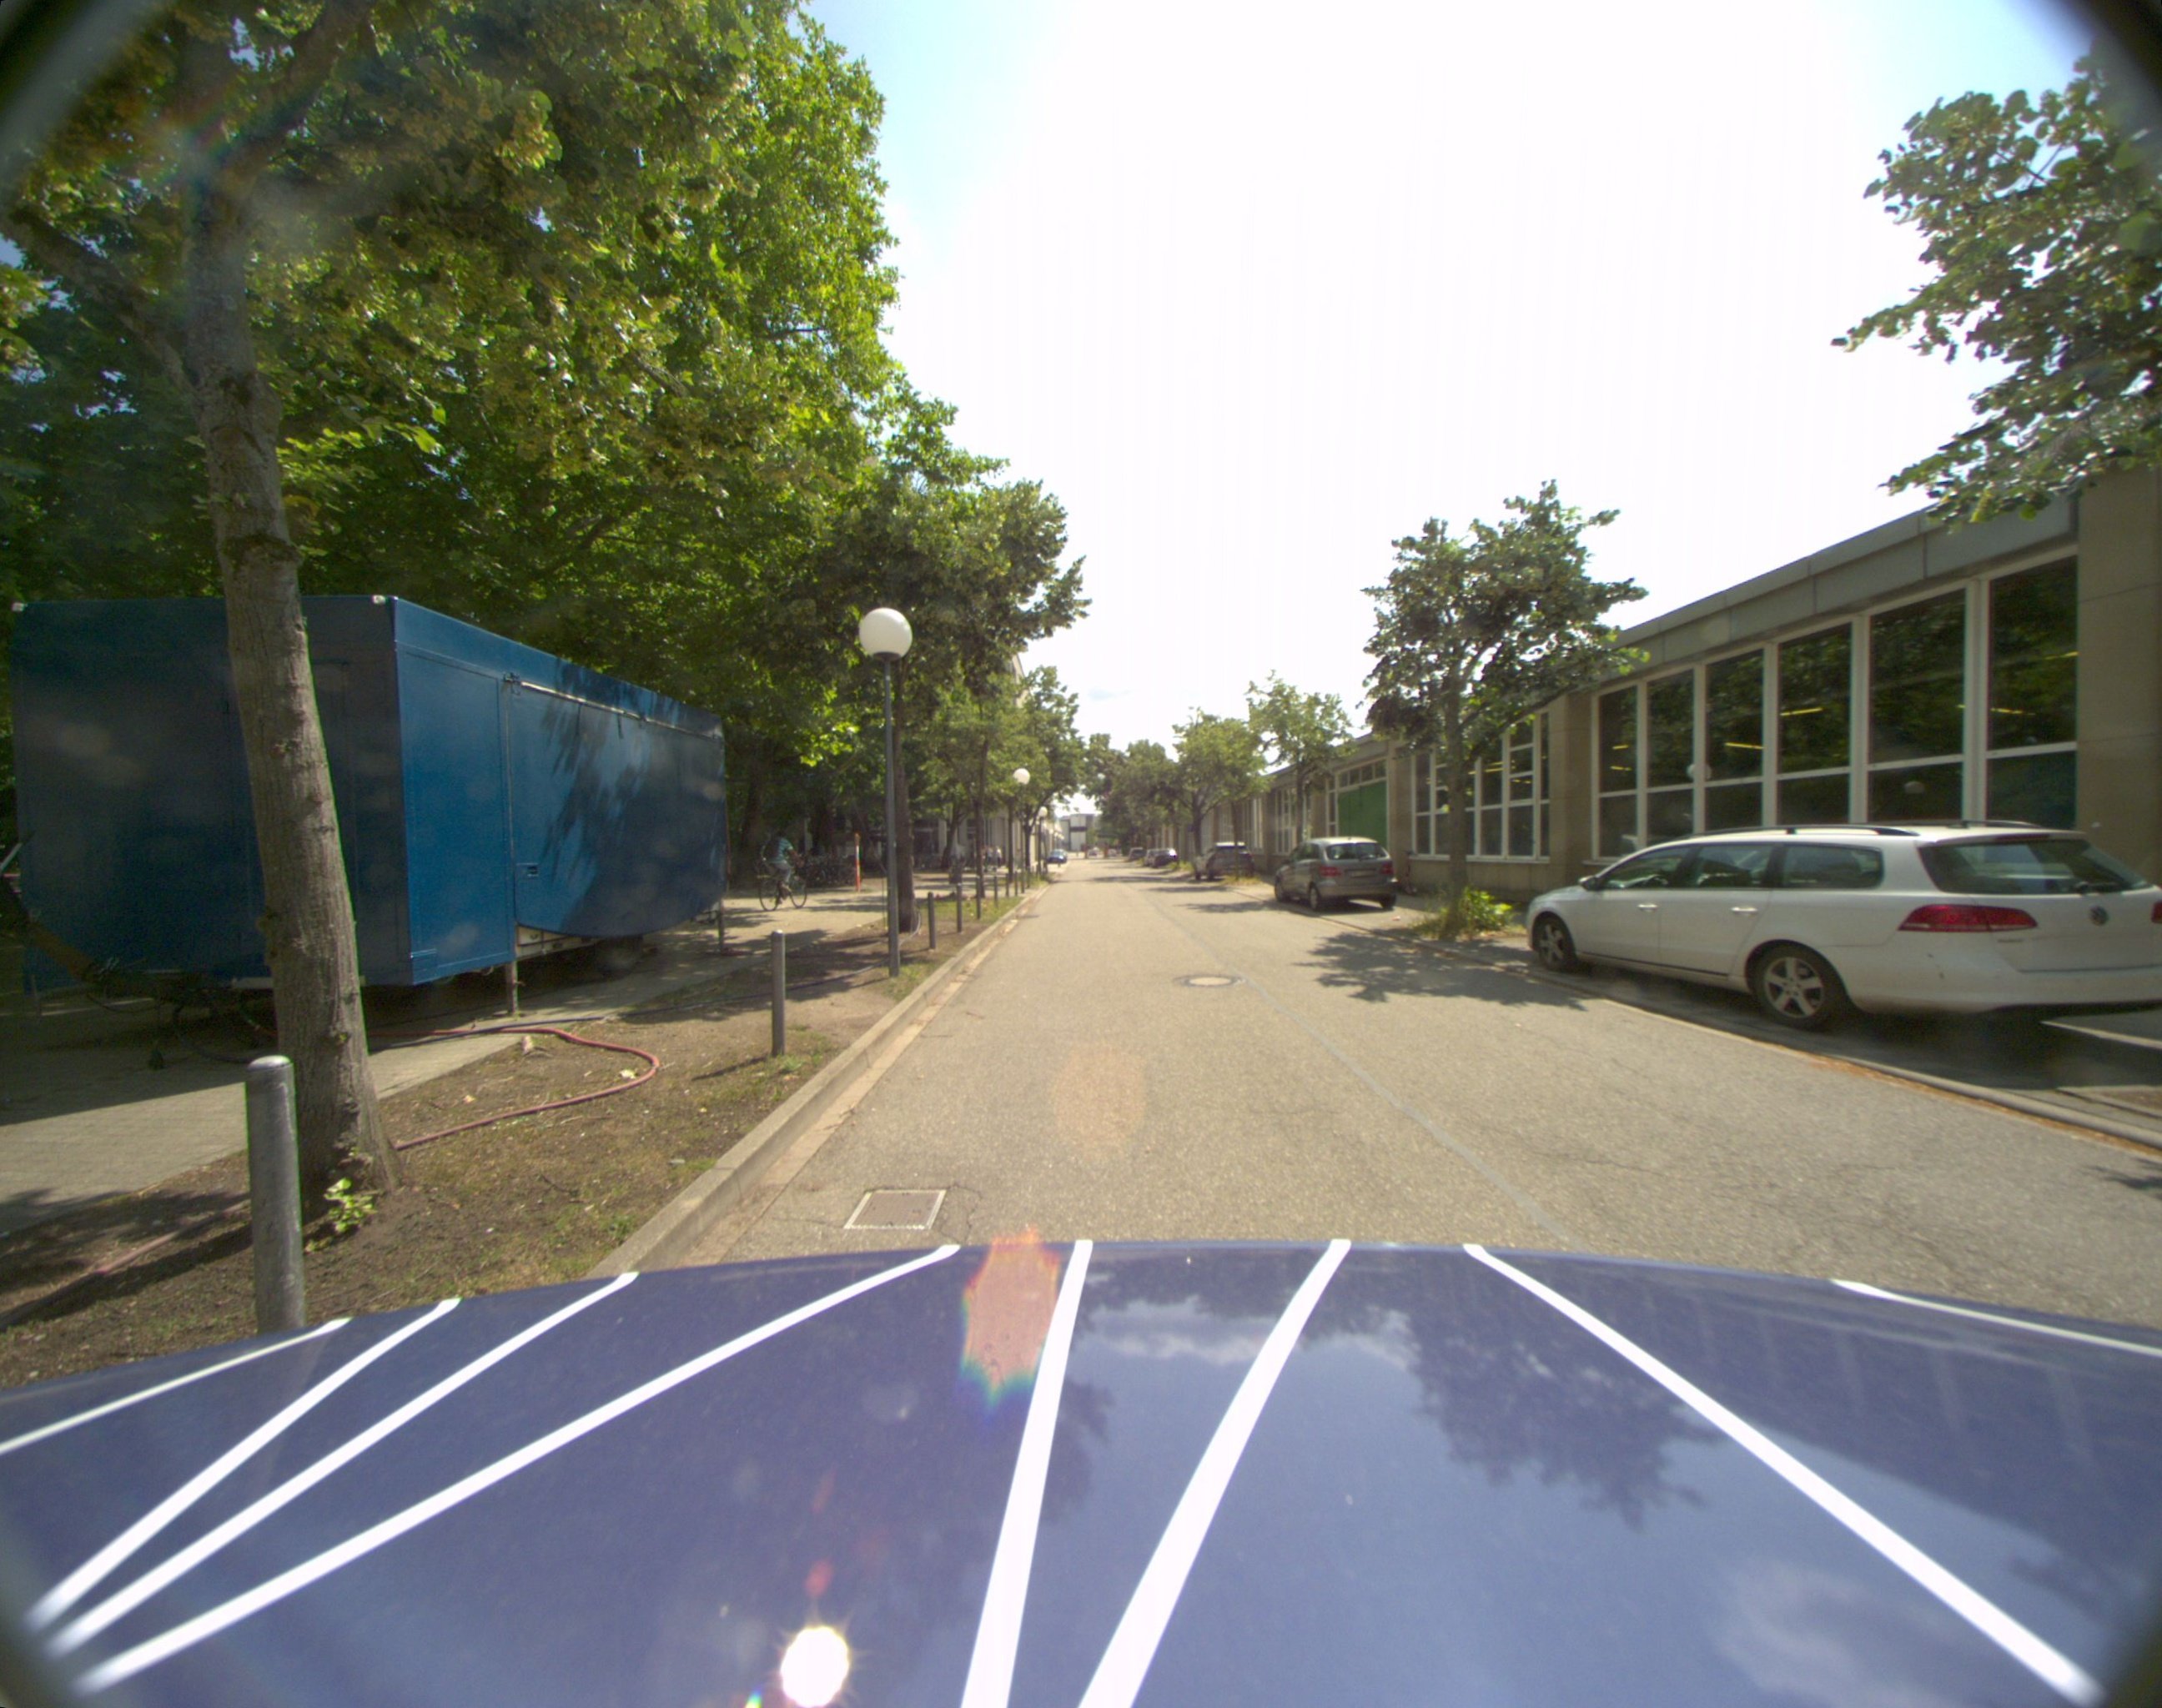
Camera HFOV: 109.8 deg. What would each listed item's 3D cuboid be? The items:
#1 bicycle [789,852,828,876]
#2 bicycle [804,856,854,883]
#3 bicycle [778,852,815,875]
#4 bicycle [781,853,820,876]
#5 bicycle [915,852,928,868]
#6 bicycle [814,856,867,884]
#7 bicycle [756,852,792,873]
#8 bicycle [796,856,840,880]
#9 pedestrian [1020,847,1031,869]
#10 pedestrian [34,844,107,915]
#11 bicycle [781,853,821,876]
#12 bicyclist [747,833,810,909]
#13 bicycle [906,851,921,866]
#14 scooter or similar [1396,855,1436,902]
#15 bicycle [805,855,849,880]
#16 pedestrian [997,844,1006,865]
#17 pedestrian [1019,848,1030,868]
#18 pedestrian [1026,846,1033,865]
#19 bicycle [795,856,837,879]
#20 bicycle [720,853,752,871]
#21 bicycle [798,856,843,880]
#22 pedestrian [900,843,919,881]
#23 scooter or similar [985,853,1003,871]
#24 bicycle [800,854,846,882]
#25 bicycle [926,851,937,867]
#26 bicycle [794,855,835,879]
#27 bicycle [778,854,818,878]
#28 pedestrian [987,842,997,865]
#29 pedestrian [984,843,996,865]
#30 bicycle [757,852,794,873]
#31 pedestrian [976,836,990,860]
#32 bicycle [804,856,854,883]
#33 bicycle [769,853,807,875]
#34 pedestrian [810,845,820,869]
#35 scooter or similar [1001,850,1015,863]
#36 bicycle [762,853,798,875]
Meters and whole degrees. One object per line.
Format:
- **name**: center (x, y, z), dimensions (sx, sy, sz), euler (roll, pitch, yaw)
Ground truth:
- **bicycle**: center (-13.709, 0.496, 38.307), dimensions (1.796, 1.163, 0.401), euler (-1, 1, -34)
- **bicycle**: center (-10.343, 0.621, 31.197), dimensions (1.916, 1.053, 0.325), euler (-1, 1, -23)
- **bicycle**: center (-15.017, 0.497, 40.149), dimensions (0.344, 1.163, 1.849), euler (0, 1, 43)
- **bicycle**: center (-14.546, 0.511, 39.403), dimensions (1.848, 1.163, 0.344), euler (-1, 1, -34)
- **bicycle**: center (-11.434, 0.442, 54.444), dimensions (0.481, 1.079, 1.516), euler (1, -1, 6)
- **bicycle**: center (-9.515, 0.617, 30.044), dimensions (1.950, 1.076, 0.404), euler (0, 1, -11)
- **bicycle**: center (-17.410, 0.477, 43.071), dimensions (1.849, 1.163, 0.352), euler (-1, 1, -36)
- **bicycle**: center (-11.843, 0.616, 34.252), dimensions (1.796, 1.022, 0.381), euler (-1, 1, -32)
- **pedestrian**: center (-4.396, 0.283, 59.833), dimensions (0.797, 1.718, 0.601), euler (-1, 1, -2)
- **pedestrian**: center (-22.986, 0.573, 17.299), dimensions (0.719, 1.572, 0.668), euler (2, 0, -13)
- **bicycle**: center (-14.246, 0.513, 38.733), dimensions (1.848, 1.163, 0.401), euler (-1, 1, -34)
- **bicyclist**: center (-6.516, 0.353, 16.397), dimensions (0.651, 1.558, 1.197), euler (2, 2, 14)
- **bicycle**: center (-11.927, 0.338, 54.162), dimensions (0.481, 1.079, 1.697), euler (1, -1, 6)
- **scooter or similar**: center (8.941, 0.639, 20.317), dimensions (0.506, 1.162, 1.215), euler (-2, 1, 1)
- **bicycle**: center (-11.045, 0.570, 33.124), dimensions (1.742, 1.046, 0.493), euler (-1, 1, -36)
- **pedestrian**: center (-6.547, 0.057, 62.637), dimensions (0.613, 1.719, 0.542), euler (-1, 1, 2)
- **pedestrian**: center (-4.421, 0.279, 59.117), dimensions (0.797, 1.533, 0.664), euler (-1, 1, -2)
- **pedestrian**: center (-4.632, 0.158, 68.478), dimensions (0.613, 1.719, 0.542), euler (-1, 1, 2)
- **bicycle**: center (-12.351, 0.617, 35.474), dimensions (1.796, 1.064, 0.425), euler (-1, 1, -30)
- **bicycle**: center (-22.048, 0.509, 48.567), dimensions (1.849, 1.163, 0.345), euler (-1, 1, -44)
- **bicycle**: center (-11.451, 0.603, 33.429), dimensions (1.800, 1.022, 0.439), euler (-1, 1, -32)
- **pedestrian**: center (-7.297, 0.329, 32.424), dimensions (0.570, 1.563, 0.926), euler (1, 4, 1)
- **scooter or similar**: center (-5.527, 0.511, 48.329), dimensions (0.496, 1.107, 1.365), euler (0, -1, 25)
- **bicycle**: center (-10.966, 0.579, 32.328), dimensions (1.742, 1.148, 0.493), euler (-1, 1, -36)
- **bicycle**: center (-10.672, 0.358, 54.317), dimensions (0.460, 1.079, 1.474), euler (1, -1, 2)
- **bicycle**: center (-12.566, 0.610, 35.857), dimensions (1.796, 1.064, 0.425), euler (-1, 1, -30)
- **bicycle**: center (-14.005, 0.565, 37.625), dimensions (1.796, 1.163, 0.401), euler (-1, 1, -34)
- **pedestrian**: center (-7.141, -0.047, 61.278), dimensions (0.687, 1.880, 0.686), euler (-2, 2, -2)
- **pedestrian**: center (-7.466, 0.030, 62.394), dimensions (0.811, 1.787, 0.618), euler (-2, 2, -43)
- **bicycle**: center (-17.197, 0.484, 42.785), dimensions (1.849, 1.163, 0.352), euler (-1, 1, -36)
- **pedestrian**: center (-7.264, -0.465, 56.299), dimensions (0.937, 1.730, 0.749), euler (-1, 1, -3)
- **bicycle**: center (-10.236, 0.624, 30.907), dimensions (1.916, 1.053, 0.325), euler (-1, 1, -23)
- **bicycle**: center (-15.808, 0.545, 41.043), dimensions (1.849, 1.163, 0.344), euler (-1, 1, -36)
- **pedestrian**: center (-19.107, 0.185, 54.580), dimensions (0.428, 1.693, 0.944), euler (-2, 1, -4)
- **scooter or similar**: center (-6.907, 0.247, 72.058), dimensions (0.566, 1.205, 1.506), euler (-3, 4, -40)
- **bicycle**: center (-16.692, 0.557, 42.174), dimensions (1.849, 1.163, 0.352), euler (-1, 1, -36)
